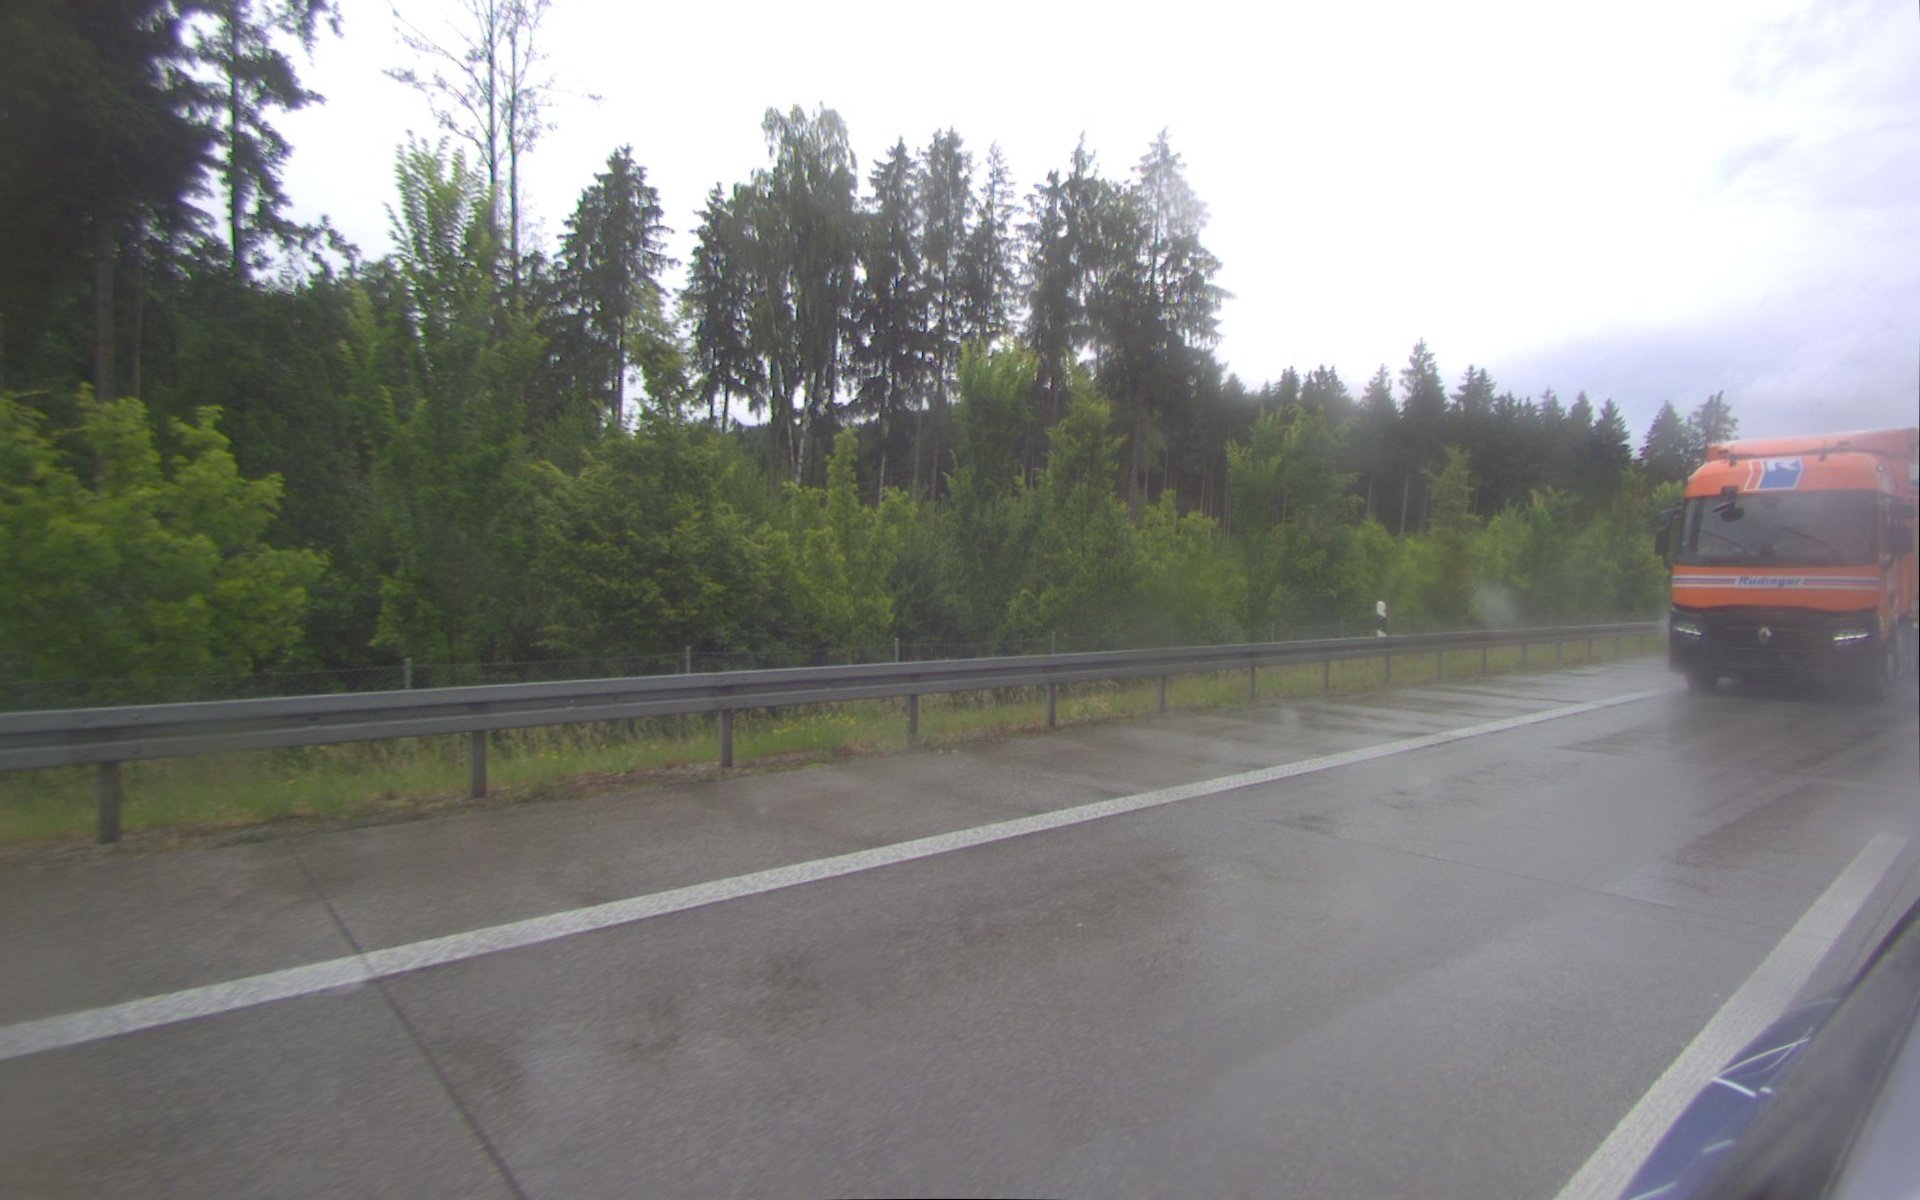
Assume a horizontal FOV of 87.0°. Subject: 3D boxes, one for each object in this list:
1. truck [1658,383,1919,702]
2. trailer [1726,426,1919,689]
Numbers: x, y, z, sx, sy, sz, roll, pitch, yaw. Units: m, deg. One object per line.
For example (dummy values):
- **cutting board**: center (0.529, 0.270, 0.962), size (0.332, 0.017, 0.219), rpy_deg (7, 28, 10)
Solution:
- **truck**: center (13.517, -0.821, 15.926), size (5.342, 4.137, 2.765), rpy_deg (0, 3, -41)
- **trailer**: center (19.509, -0.748, 21.203), size (12.777, 4.207, 2.801), rpy_deg (0, 3, -41)
